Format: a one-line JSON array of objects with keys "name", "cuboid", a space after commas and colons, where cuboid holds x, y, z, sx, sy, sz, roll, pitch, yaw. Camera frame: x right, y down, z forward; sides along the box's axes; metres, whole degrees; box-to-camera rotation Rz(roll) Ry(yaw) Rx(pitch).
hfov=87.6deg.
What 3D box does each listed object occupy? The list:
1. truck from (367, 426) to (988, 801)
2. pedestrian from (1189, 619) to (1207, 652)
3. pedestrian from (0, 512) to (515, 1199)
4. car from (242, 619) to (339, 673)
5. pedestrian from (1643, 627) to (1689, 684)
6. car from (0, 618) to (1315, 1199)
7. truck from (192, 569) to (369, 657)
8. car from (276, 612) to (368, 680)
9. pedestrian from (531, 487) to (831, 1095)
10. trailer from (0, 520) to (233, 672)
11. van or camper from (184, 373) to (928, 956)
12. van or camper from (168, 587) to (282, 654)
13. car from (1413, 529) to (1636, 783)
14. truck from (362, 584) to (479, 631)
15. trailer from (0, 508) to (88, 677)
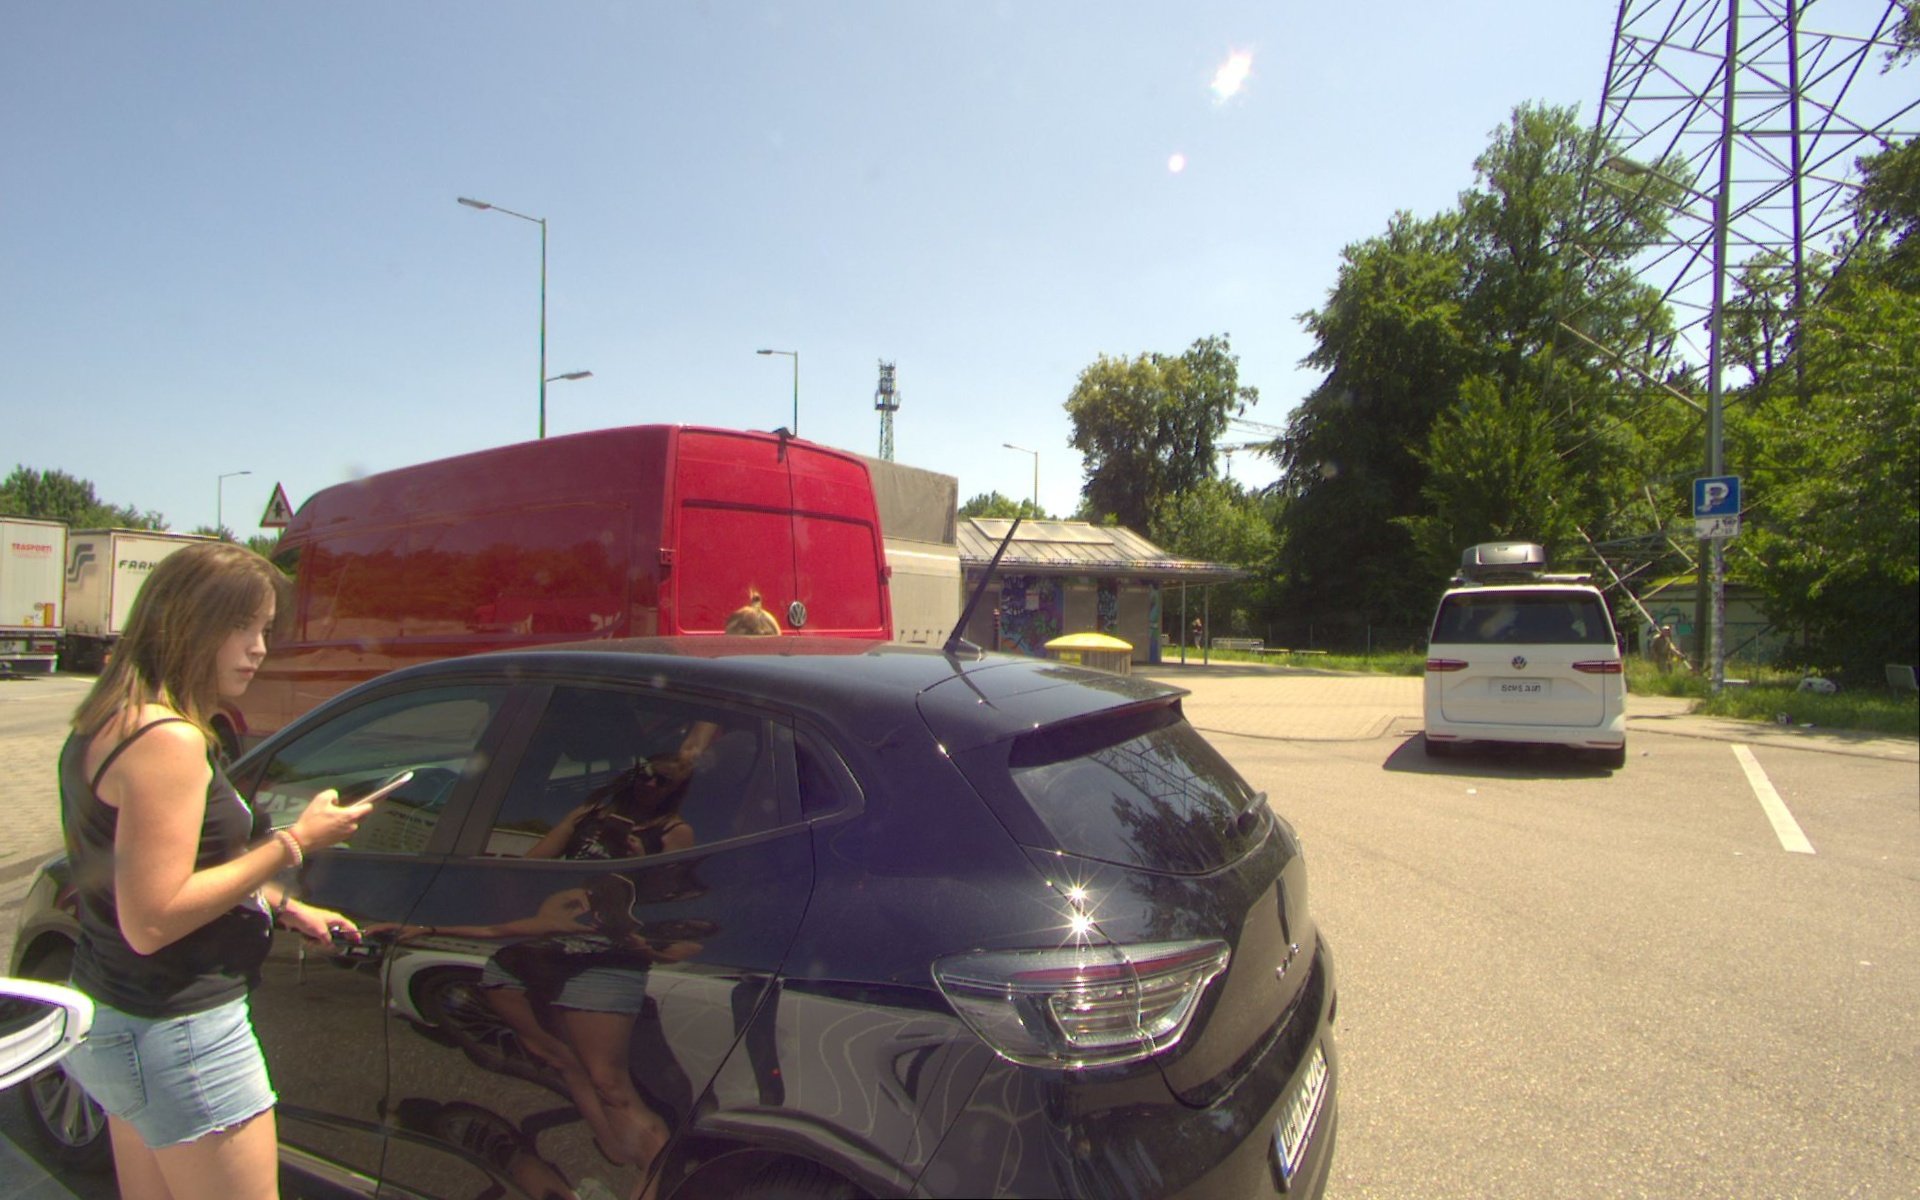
[{"name": "truck", "cuboid": [-3.260, 0.132, 10.540, 6.874, 2.828, 2.460, 0, -1, 35]}, {"name": "pedestrian", "cuboid": [10.986, 1.630, 46.255, 0.577, 1.536, 0.592, 1, 0, -9]}, {"name": "pedestrian", "cuboid": [-1.289, 0.691, 1.753, 0.643, 1.606, 0.648, 1, 0, 18]}, {"name": "car", "cuboid": [-21.037, 1.400, 31.445, 3.597, 1.565, 1.584, 0, -1, 40]}, {"name": "pedestrian", "cuboid": [17.767, 1.387, 25.203, 0.695, 1.392, 0.607, 1, 0, -1]}, {"name": "car", "cuboid": [-1.059, 0.833, 2.827, 3.706, 1.503, 1.615, 0, -1, 27]}, {"name": "truck", "cuboid": [-31.692, 0.509, 46.458, 11.255, 3.615, 2.484, 2, -1, 33]}, {"name": "car", "cuboid": [-16.286, 1.113, 25.505, 1.824, 1.582, 3.923, 1, -1, -34]}, {"name": "pedestrian", "cuboid": [-1.054, 0.609, 3.727, 0.765, 1.896, 0.910, 1, -1, -38]}, {"name": "trailer", "cuboid": [-27.294, -0.198, 31.446, 12.255, 4.090, 2.862, 2, -1, 33]}, {"name": "van or camper", "cuboid": [-3.365, 0.323, 7.334, 6.394, 2.688, 1.990, 0, -1, 36]}, {"name": "van or camper", "cuboid": [-30.411, 0.823, 41.367, 5.296, 2.595, 2.100, 0, -1, 34]}, {"name": "car", "cuboid": [6.540, 0.566, 11.540, 1.892, 2.354, 4.074, -1, -1, 32]}, {"name": "truck", "cuboid": [-34.722, 0.471, 64.260, 9.637, 2.857, 2.121, 0, -1, 33]}, {"name": "trailer", "cuboid": [-28.354, -0.328, 27.781, 12.255, 4.090, 2.862, 2, -1, 33]}]
